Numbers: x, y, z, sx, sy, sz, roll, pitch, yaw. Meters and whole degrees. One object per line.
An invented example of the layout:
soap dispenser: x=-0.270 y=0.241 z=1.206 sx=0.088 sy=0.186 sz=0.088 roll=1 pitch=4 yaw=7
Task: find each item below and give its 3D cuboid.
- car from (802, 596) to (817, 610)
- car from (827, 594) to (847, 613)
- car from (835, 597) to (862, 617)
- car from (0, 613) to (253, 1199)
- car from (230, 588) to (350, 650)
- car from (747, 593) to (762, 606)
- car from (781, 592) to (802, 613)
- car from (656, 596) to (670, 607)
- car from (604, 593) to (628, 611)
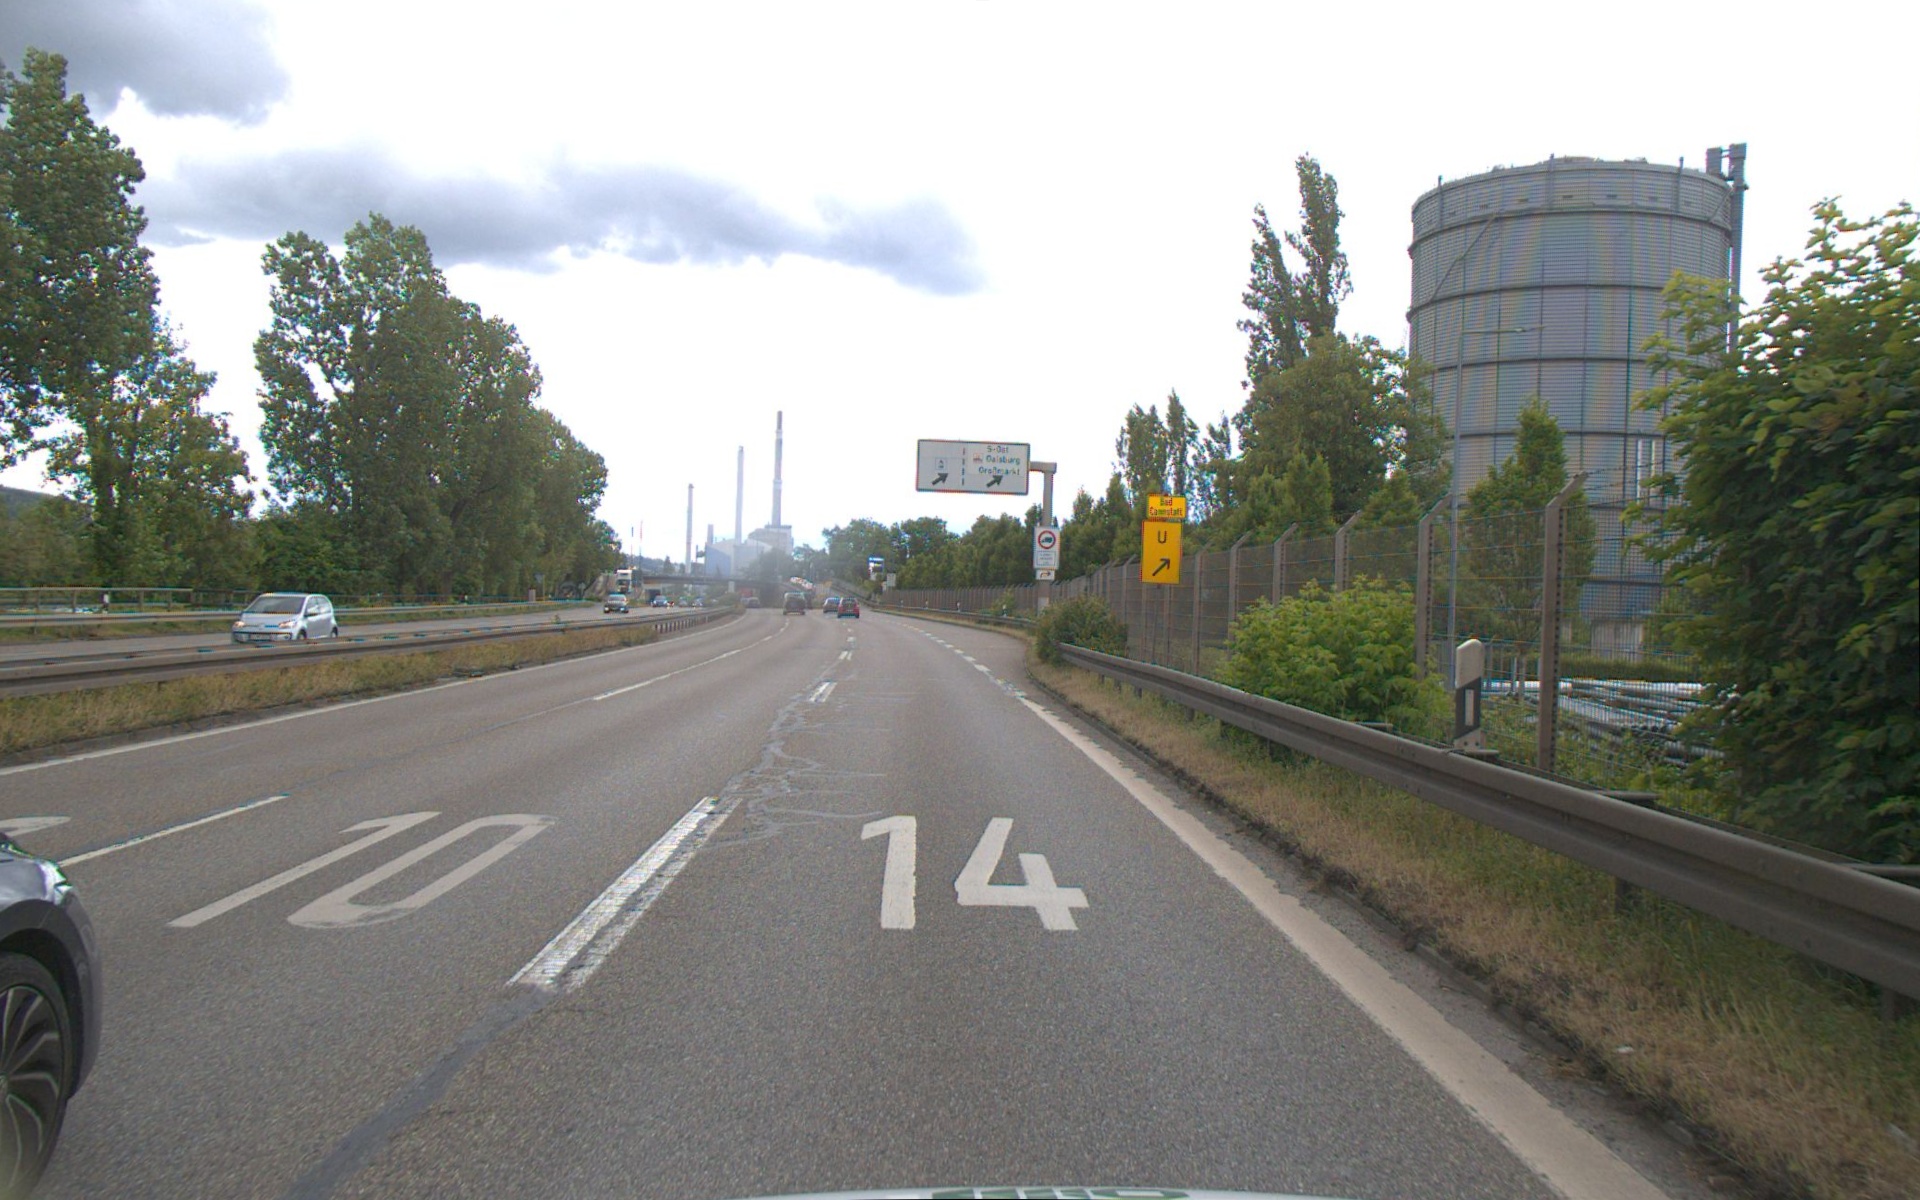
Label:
car: x=-18.254 y=0.364 z=200.392 sx=1.665 sy=1.582 sz=4.391 roll=1 pitch=0 yaw=-7
car: x=-11.843 y=0.294 z=159.045 sx=1.666 sy=1.772 sz=4.385 roll=1 pitch=0 yaw=-8
car: x=-8.849 y=0.538 z=130.972 sx=1.936 sy=1.448 sz=4.895 roll=1 pitch=0 yaw=-6
car: x=-3.074 y=0.778 z=2.682 sx=1.808 sy=1.448 sz=4.899 roll=2 pitch=0 yaw=-2
car: x=-16.600 y=0.443 z=41.140 sx=1.582 sy=1.410 sz=3.730 roll=2 pitch=0 yaw=-3
car: x=-28.689 y=-0.136 z=231.112 sx=1.668 sy=1.772 sz=4.380 roll=0 pitch=0 yaw=-12
car: x=-14.749 y=0.236 z=144.643 sx=1.665 sy=1.772 sz=3.993 roll=1 pitch=0 yaw=-7
car: x=-37.864 y=0.163 z=210.803 sx=1.666 sy=1.438 sz=4.628 roll=0 pitch=0 yaw=-9
car: x=-28.610 y=0.139 z=137.598 sx=1.666 sy=1.438 sz=4.629 roll=0 pitch=0 yaw=-8
